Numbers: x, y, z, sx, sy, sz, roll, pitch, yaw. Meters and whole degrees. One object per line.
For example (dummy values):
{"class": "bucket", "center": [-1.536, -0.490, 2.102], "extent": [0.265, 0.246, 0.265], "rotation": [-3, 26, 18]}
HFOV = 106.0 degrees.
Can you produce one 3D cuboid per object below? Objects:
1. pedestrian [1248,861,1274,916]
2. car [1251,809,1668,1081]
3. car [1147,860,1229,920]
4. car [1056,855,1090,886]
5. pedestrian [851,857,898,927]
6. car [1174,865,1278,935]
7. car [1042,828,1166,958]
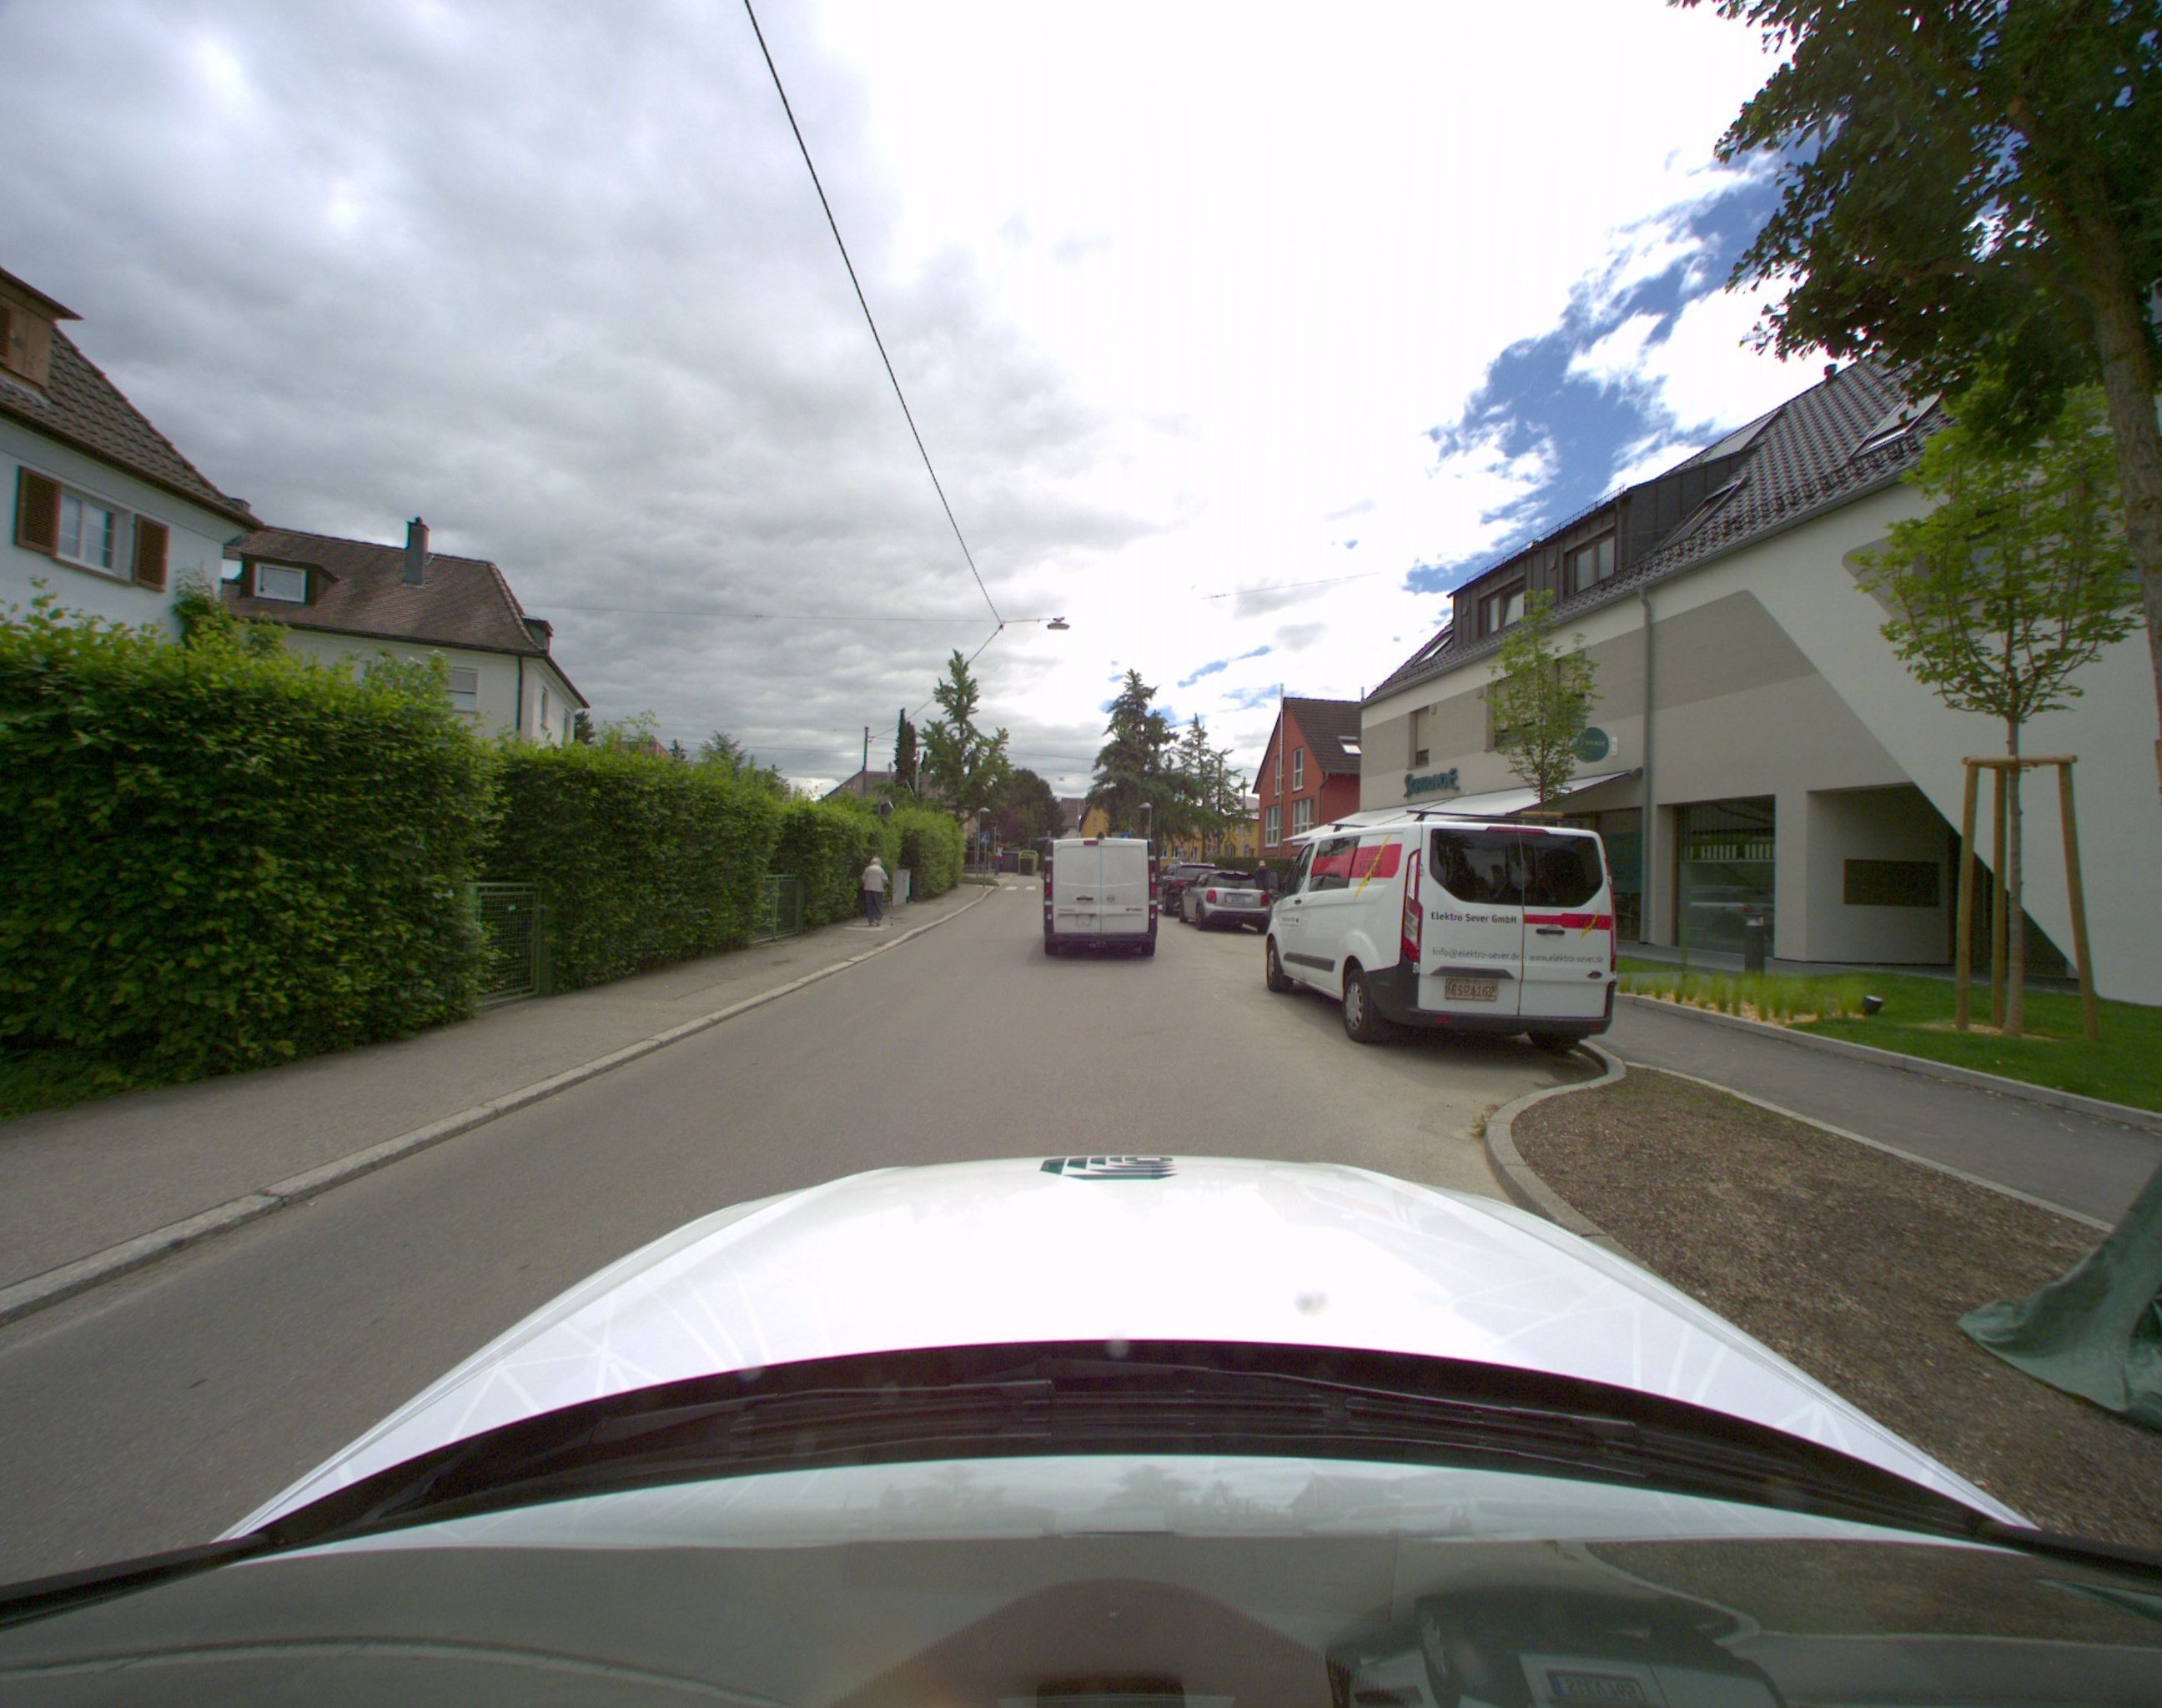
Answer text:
{"class": "pedestrian", "center": [5.397, 1.023, 24.483], "extent": [0.588, 1.607, 0.529], "rotation": [3, -2, 1]}
{"class": "car", "center": [3.346, 0.742, 8.506], "extent": [1.952, 1.916, 4.898], "rotation": [3, -2, -1]}
{"class": "car", "center": [3.237, 1.045, 25.341], "extent": [1.698, 1.614, 4.253], "rotation": [4, -1, -3]}
{"class": "car", "center": [-0.475, 1.017, 50.284], "extent": [1.987, 1.848, 3.998], "rotation": [1, -2, 0]}
{"class": "pedestrian", "center": [-4.604, 0.843, 18.152], "extent": [0.879, 1.485, 0.452], "rotation": [4, -2, -20]}
{"class": "car", "center": [3.526, 1.091, 20.423], "extent": [1.738, 1.495, 3.650], "rotation": [4, -2, -3]}
{"class": "car", "center": [0.330, 0.647, 14.921], "extent": [1.910, 2.003, 4.435], "rotation": [1, -1, -1]}
